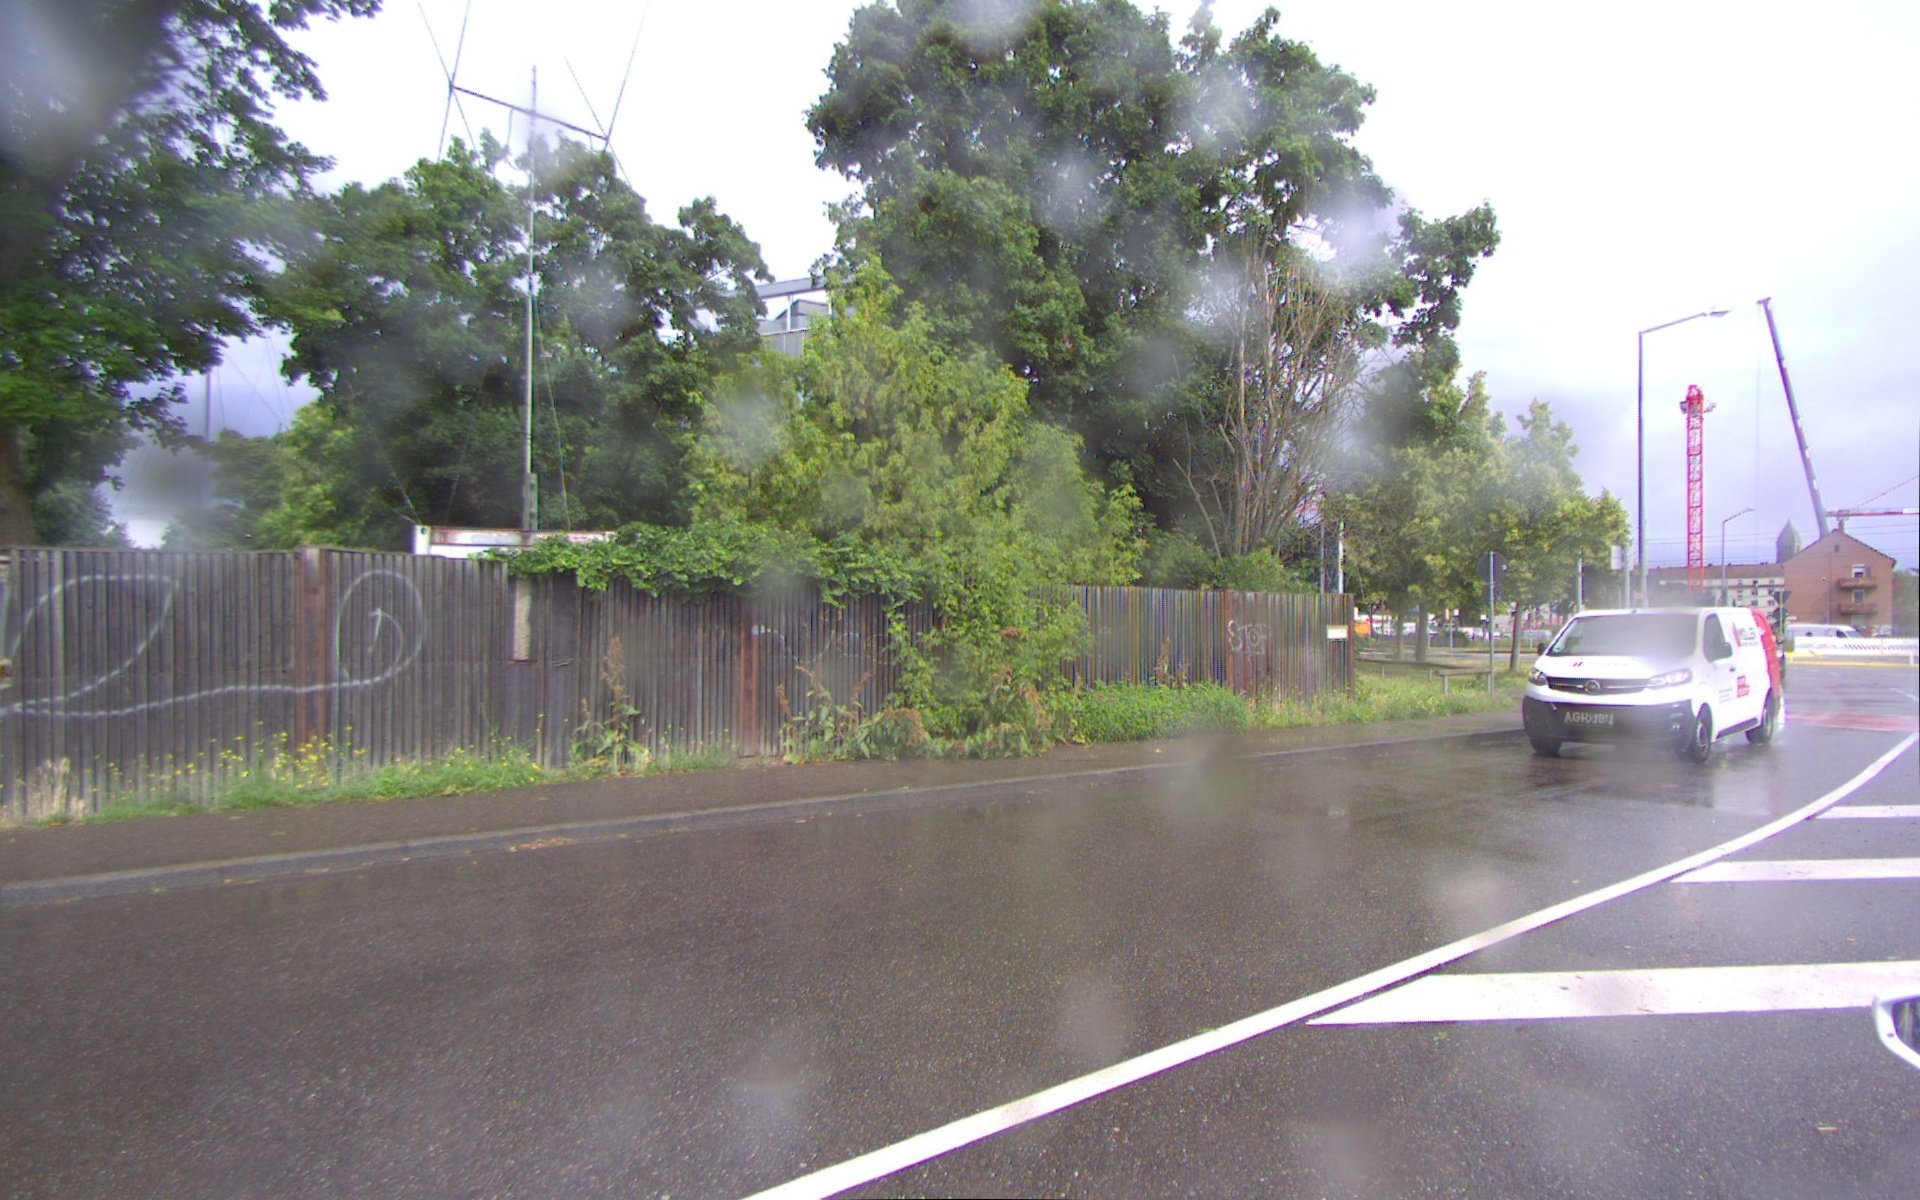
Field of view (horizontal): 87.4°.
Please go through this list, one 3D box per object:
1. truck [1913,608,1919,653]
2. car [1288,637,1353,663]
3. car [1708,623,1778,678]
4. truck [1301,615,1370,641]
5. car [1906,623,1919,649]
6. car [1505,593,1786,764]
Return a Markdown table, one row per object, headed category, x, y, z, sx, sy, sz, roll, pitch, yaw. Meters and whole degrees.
| category | x | y | z | sx | sy | sz | roll | pitch | yaw |
| --- | --- | --- | --- | --- | --- | --- | --- | --- | --- |
| truck | 60.161 | 1.817 | 58.138 | 6.947 | 2.685 | 2.331 | 0 | -1 | 15 |
| car | 25.927 | 3.570 | 72.280 | 1.613 | 1.649 | 4.372 | 1 | -1 | -32 |
| car | 26.085 | 1.640 | 33.411 | 1.713 | 1.686 | 4.090 | 0 | -1 | 40 |
| truck | 37.035 | 2.745 | 99.280 | 2.401 | 2.475 | 6.682 | 1 | -2 | -25 |
| car | 61.577 | 2.273 | 62.638 | 3.438 | 1.605 | 1.567 | 0 | -1 | 21 |
| car | 9.396 | 0.948 | 13.581 | 5.091 | 1.901 | 1.872 | 2 | -2 | -40 |
